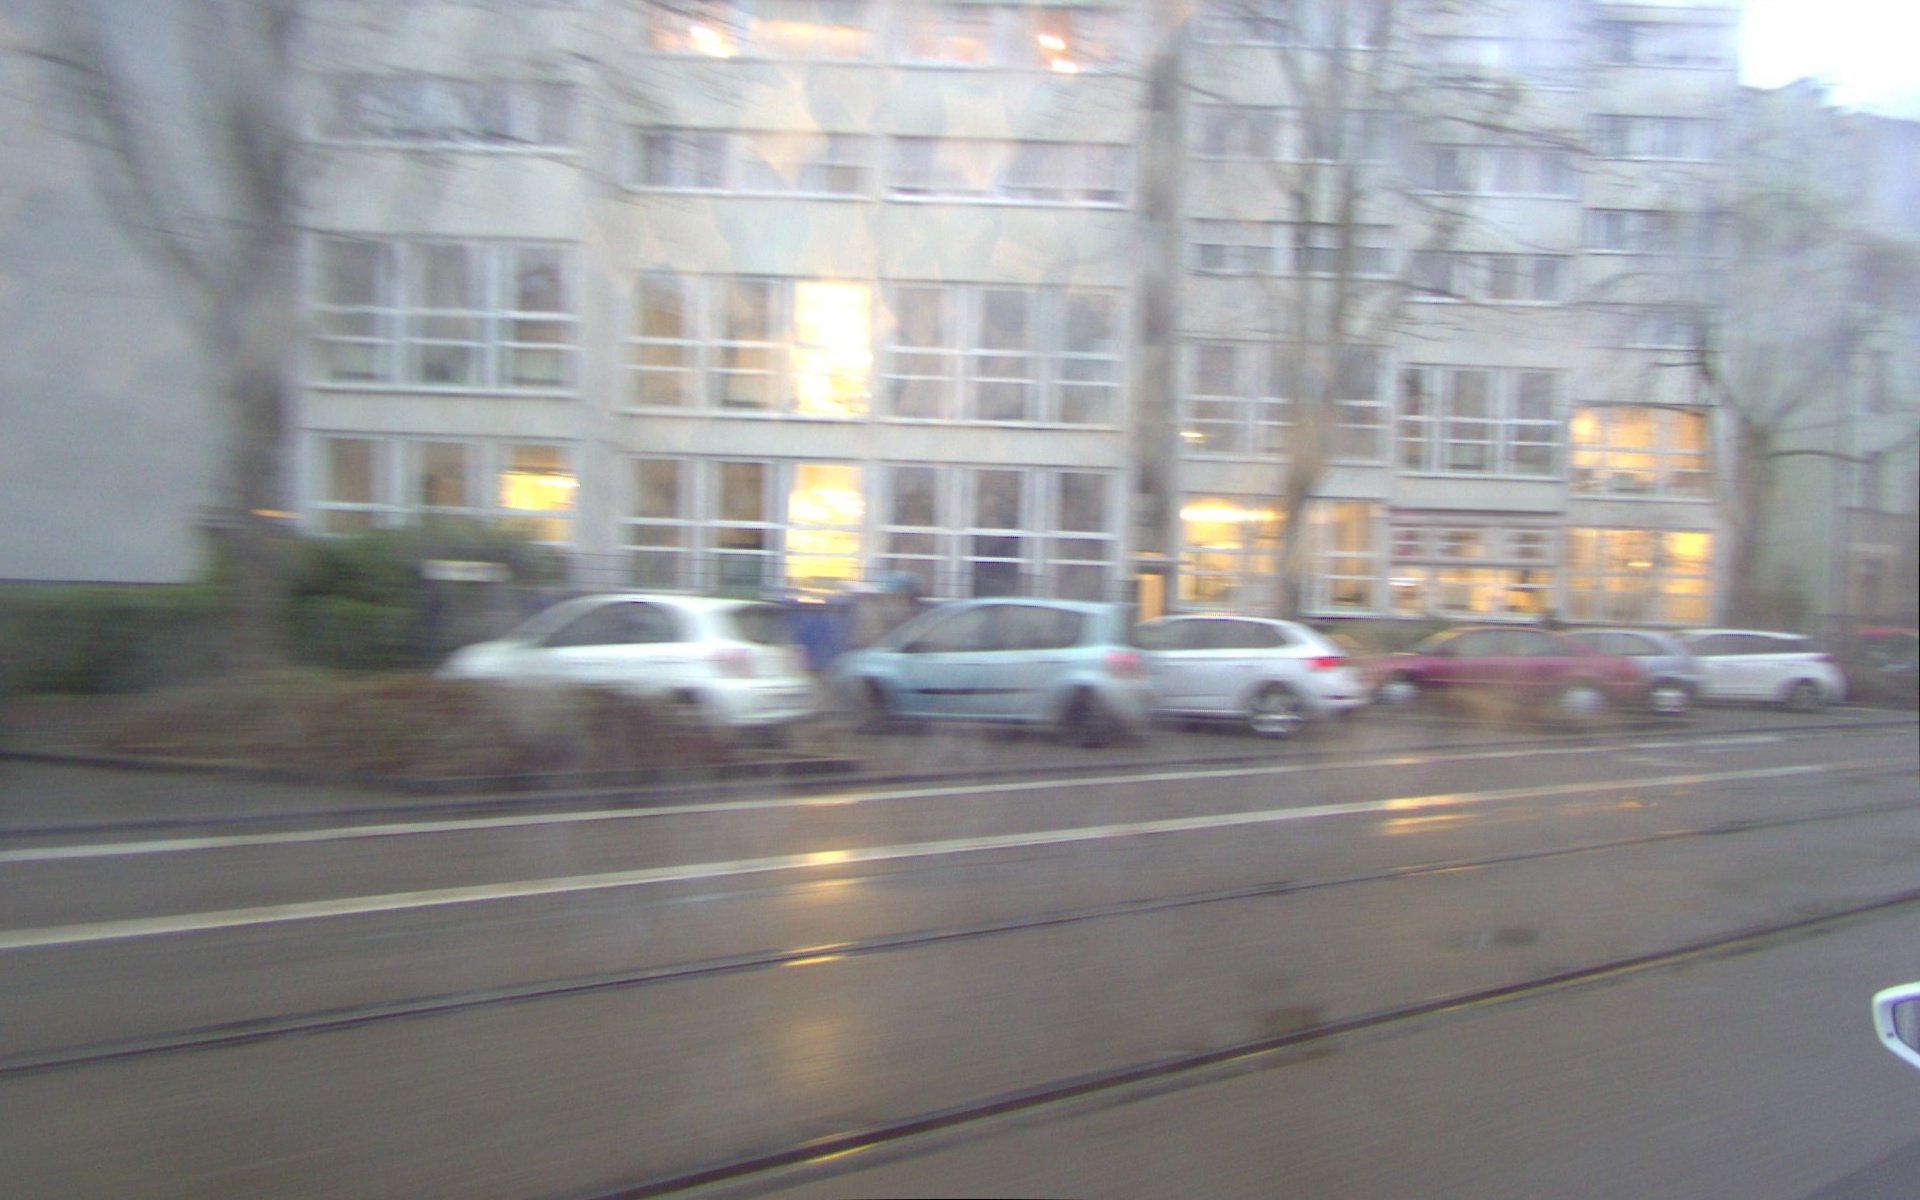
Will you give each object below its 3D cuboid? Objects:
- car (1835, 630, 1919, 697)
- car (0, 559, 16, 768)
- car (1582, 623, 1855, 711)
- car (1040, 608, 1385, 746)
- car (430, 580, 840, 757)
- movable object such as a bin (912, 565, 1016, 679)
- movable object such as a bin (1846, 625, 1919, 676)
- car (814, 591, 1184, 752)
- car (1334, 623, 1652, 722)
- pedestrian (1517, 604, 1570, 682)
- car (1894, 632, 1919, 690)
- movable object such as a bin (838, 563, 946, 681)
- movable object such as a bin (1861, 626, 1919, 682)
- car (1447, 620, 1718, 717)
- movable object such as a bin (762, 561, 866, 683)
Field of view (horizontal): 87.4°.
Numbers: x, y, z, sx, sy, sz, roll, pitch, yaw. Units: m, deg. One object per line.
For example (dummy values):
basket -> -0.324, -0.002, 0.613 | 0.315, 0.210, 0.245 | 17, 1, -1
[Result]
car -> 23.618, 1.527, 23.775 | 3.920, 1.490, 1.832 | 1, 0, 18
car -> -8.963, 0.427, 7.174 | 3.777, 1.513, 1.696 | 1, 0, 20
car -> 14.283, 1.222, 19.176 | 3.776, 1.442, 1.737 | 1, 0, 18
car -> 3.183, 0.881, 12.813 | 3.929, 1.463, 1.733 | 1, -1, 31
car -> -3.345, 0.610, 10.459 | 3.800, 1.572, 1.693 | 1, 0, 19
movable object such as a bin -> 0.050, 0.361, 17.708 | 1.300, 1.885, 1.565 | 0, 1, -25
movable object such as a bin -> 28.323, 1.527, 30.781 | 1.305, 1.470, 1.261 | 1, 0, -20
car -> 0.463, 0.718, 11.646 | 3.922, 1.584, 1.736 | 1, 0, 22
car -> 8.432, 1.107, 16.297 | 4.260, 1.370, 1.751 | 1, -1, 15
pedestrian -> 13.105, 0.951, 22.559 | 0.961, 1.699, 0.594 | 1, 0, -27
car -> 26.303, 1.590, 25.070 | 3.922, 1.447, 1.848 | 1, 0, 21
movable object such as a bin -> -1.178, 0.342, 17.094 | 1.375, 1.885, 1.565 | 0, 1, -26
movable object such as a bin -> 26.268, 1.492, 27.999 | 1.305, 1.470, 1.261 | 1, 0, -20
car -> 10.938, 1.150, 17.961 | 3.927, 1.482, 1.734 | 1, -1, 29
movable object such as a bin -> -2.408, 0.333, 16.468 | 1.300, 1.885, 1.565 | 0, 1, -25
